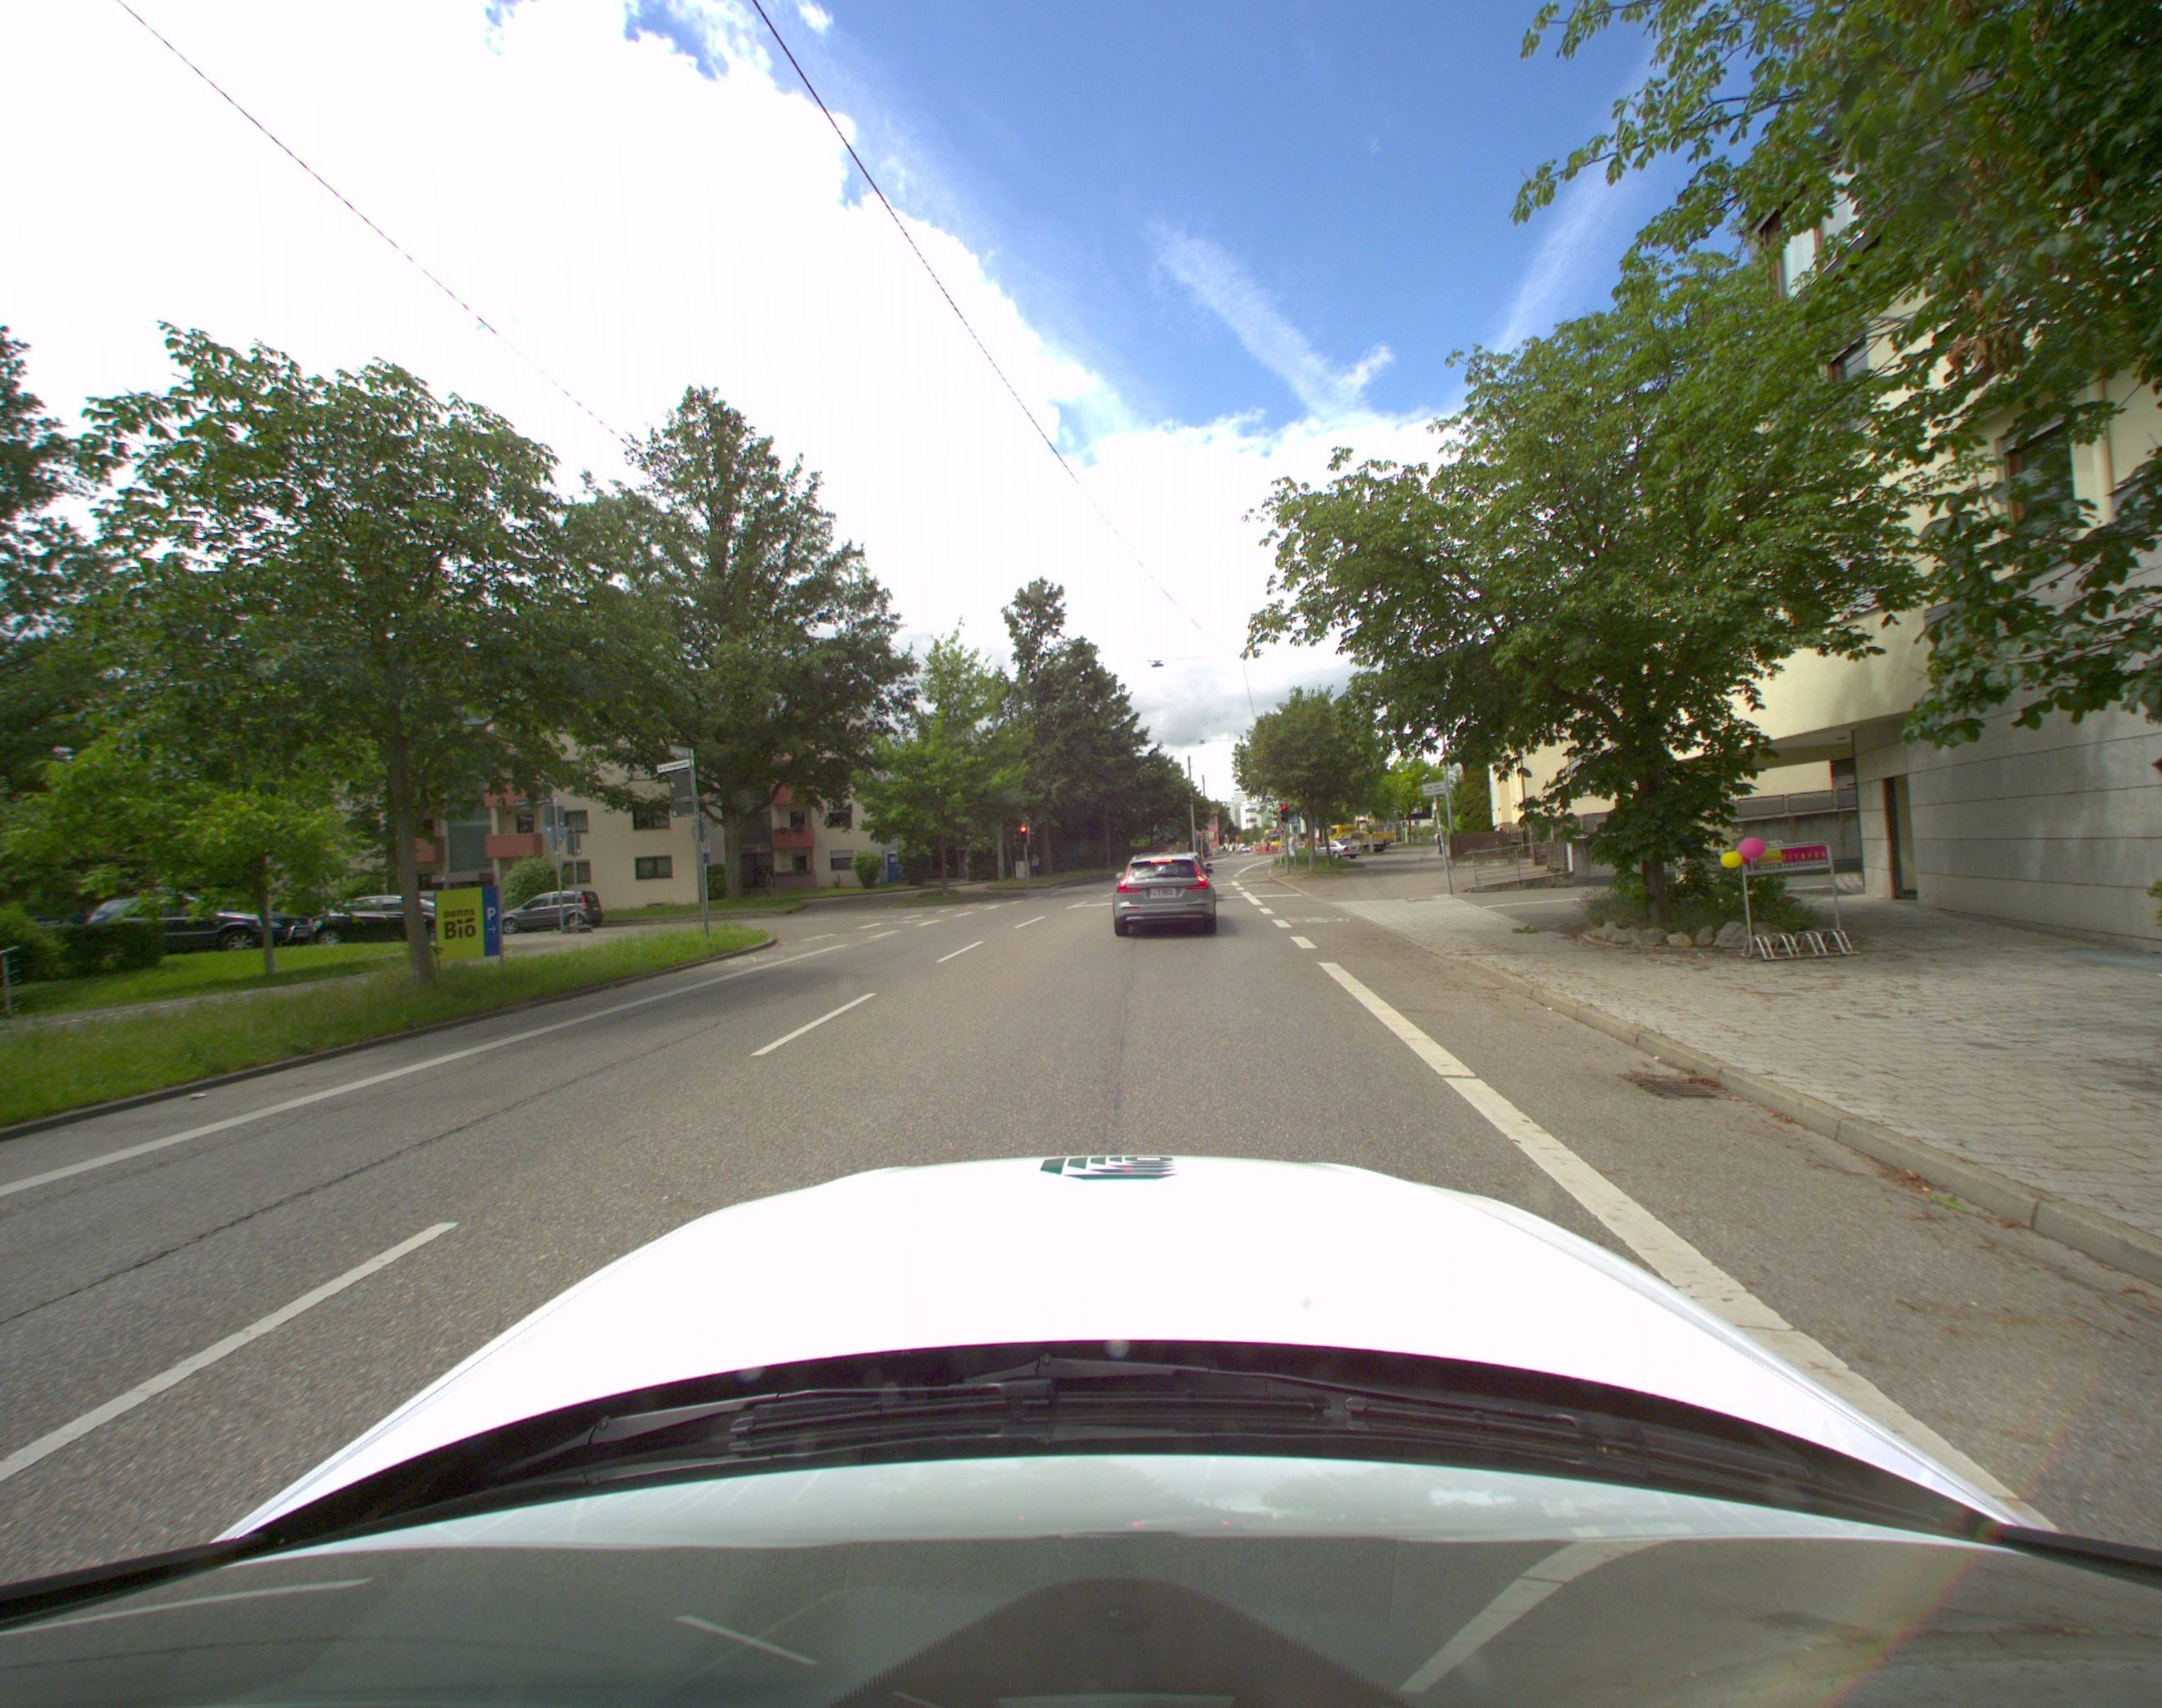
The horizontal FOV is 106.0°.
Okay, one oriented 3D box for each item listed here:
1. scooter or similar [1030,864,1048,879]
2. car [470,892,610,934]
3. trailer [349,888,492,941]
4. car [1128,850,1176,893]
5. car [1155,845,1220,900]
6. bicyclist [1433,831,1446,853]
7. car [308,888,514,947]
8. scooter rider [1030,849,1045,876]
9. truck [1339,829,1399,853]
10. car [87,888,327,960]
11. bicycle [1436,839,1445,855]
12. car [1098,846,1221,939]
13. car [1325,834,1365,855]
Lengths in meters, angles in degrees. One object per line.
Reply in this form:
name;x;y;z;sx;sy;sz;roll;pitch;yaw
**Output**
scooter or similar;-2.828;1.200;55.048;0.959;0.962;0.683;-3;-1;-32
car;-20.749;2.263;31.378;4.072;1.400;1.791;-2;-4;-6
trailer;-25.030;2.294;30.988;3.904;1.799;1.626;-2;-4;-8
car;2.816;0.699;32.732;1.796;1.616;4.333;0;-1;3
car;3.292;0.498;24.976;1.794;1.523;4.339;0;0;8
bicyclist;24.375;-0.805;55.366;0.771;1.399;0.706;-3;-2;24
car;-18.542;1.754;22.707;4.072;1.400;1.791;-2;-4;-6
scooter rider;-2.953;0.572;55.019;0.710;1.727;0.673;-1;-2;-31
truck;26.835;-1.186;75.799;5.631;2.014;2.069;-2;-1;-29
car;-23.689;1.864;22.240;4.170;1.523;1.897;-3;-1;-6
bicycle;24.368;-0.472;55.208;0.457;1.035;2.779;-3;-1;25
car;1.703;0.650;16.140;1.943;1.523;4.342;-3;0;11
car;26.200;-0.953;80.912;3.782;2.014;1.724;-1;-2;-34
